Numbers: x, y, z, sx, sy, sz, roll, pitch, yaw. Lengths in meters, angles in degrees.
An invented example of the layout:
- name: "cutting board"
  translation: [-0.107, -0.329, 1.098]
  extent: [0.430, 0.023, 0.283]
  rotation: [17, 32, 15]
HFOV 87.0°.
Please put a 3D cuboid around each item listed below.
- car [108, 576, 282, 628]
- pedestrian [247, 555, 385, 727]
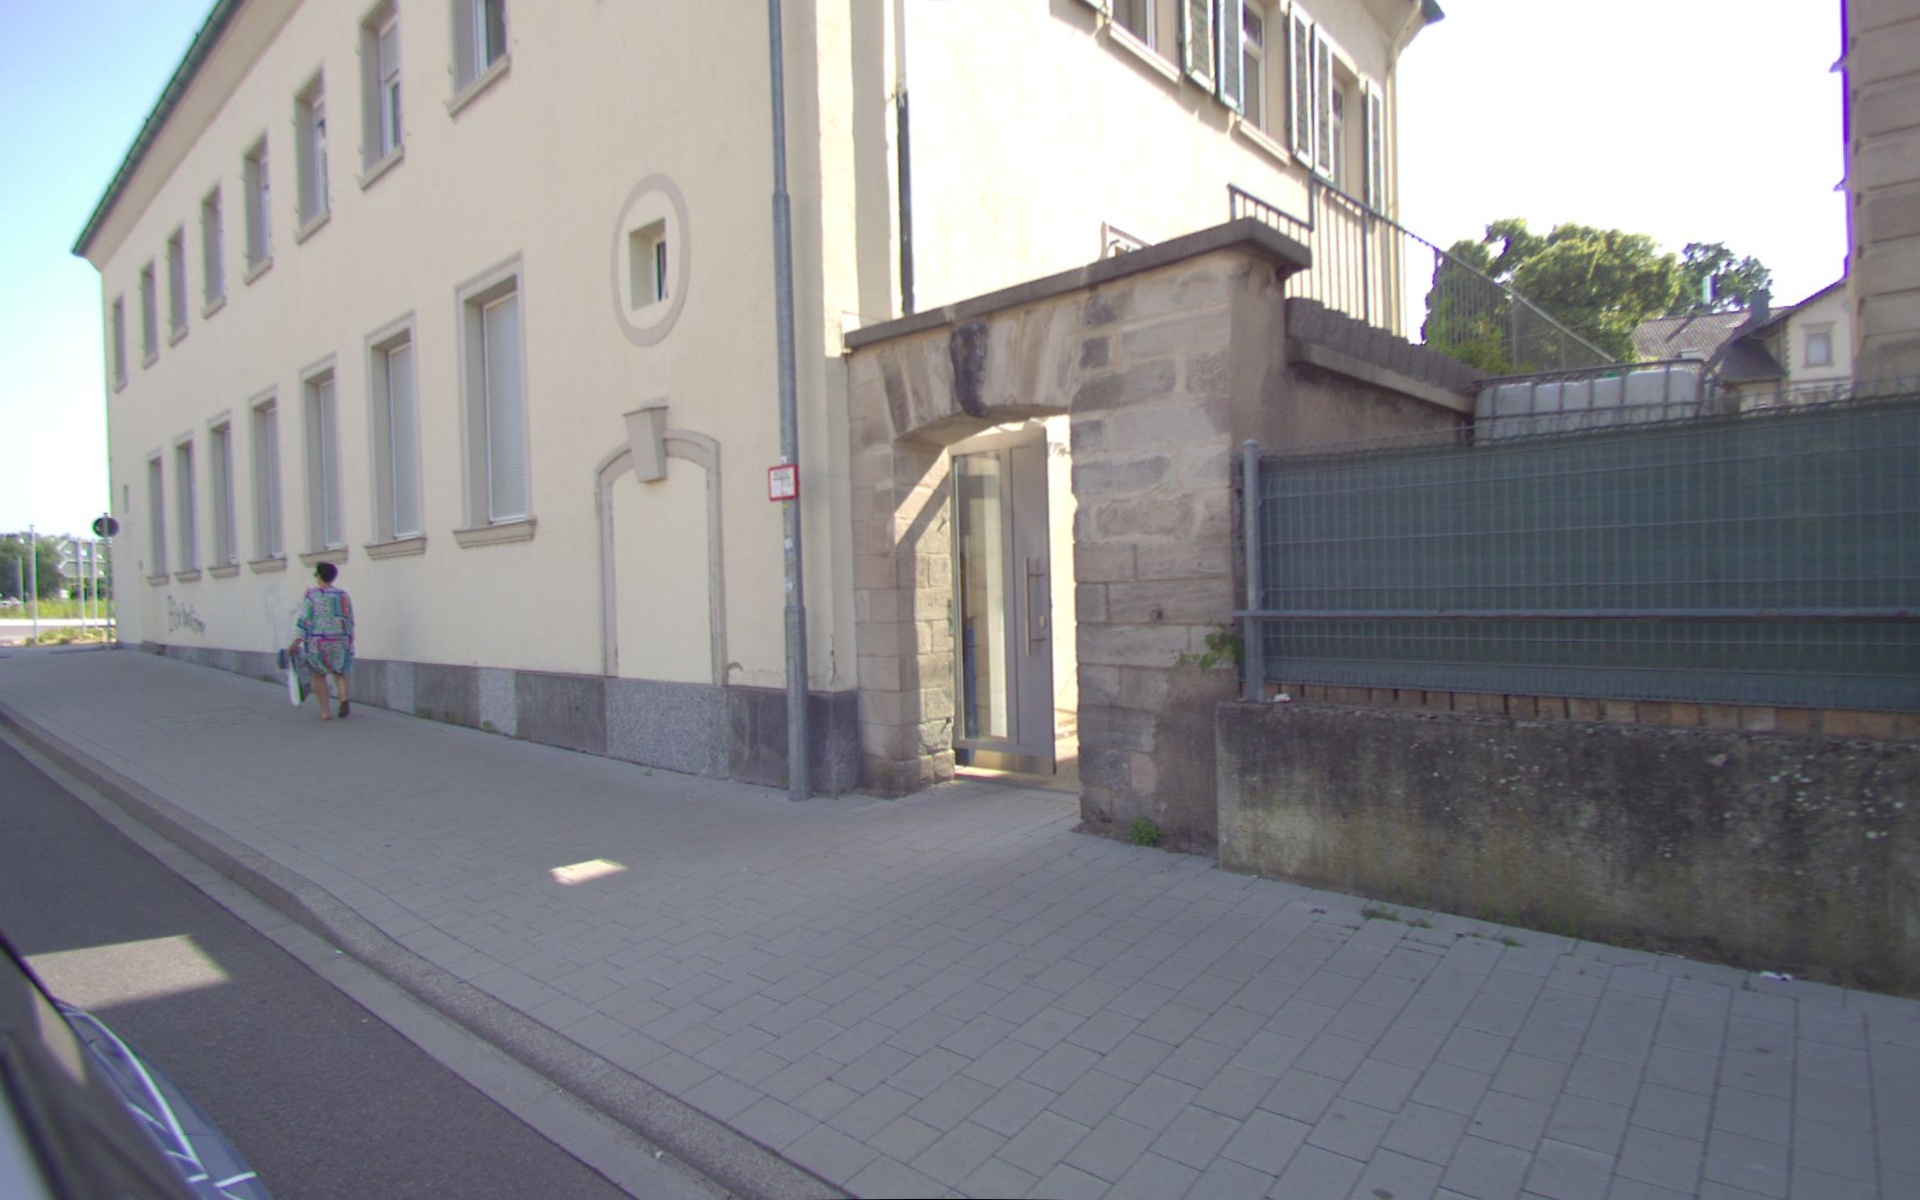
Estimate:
- name: "car"
  translation: [-25.474, 0.051, 33.877]
  extent: [4.278, 1.675, 1.893]
  rotation: [0, 1, -19]
- name: "pedestrian"
  translation: [-6.556, 0.381, 10.316]
  extent: [0.758, 1.643, 0.948]
  rotation: [-1, 2, 41]
